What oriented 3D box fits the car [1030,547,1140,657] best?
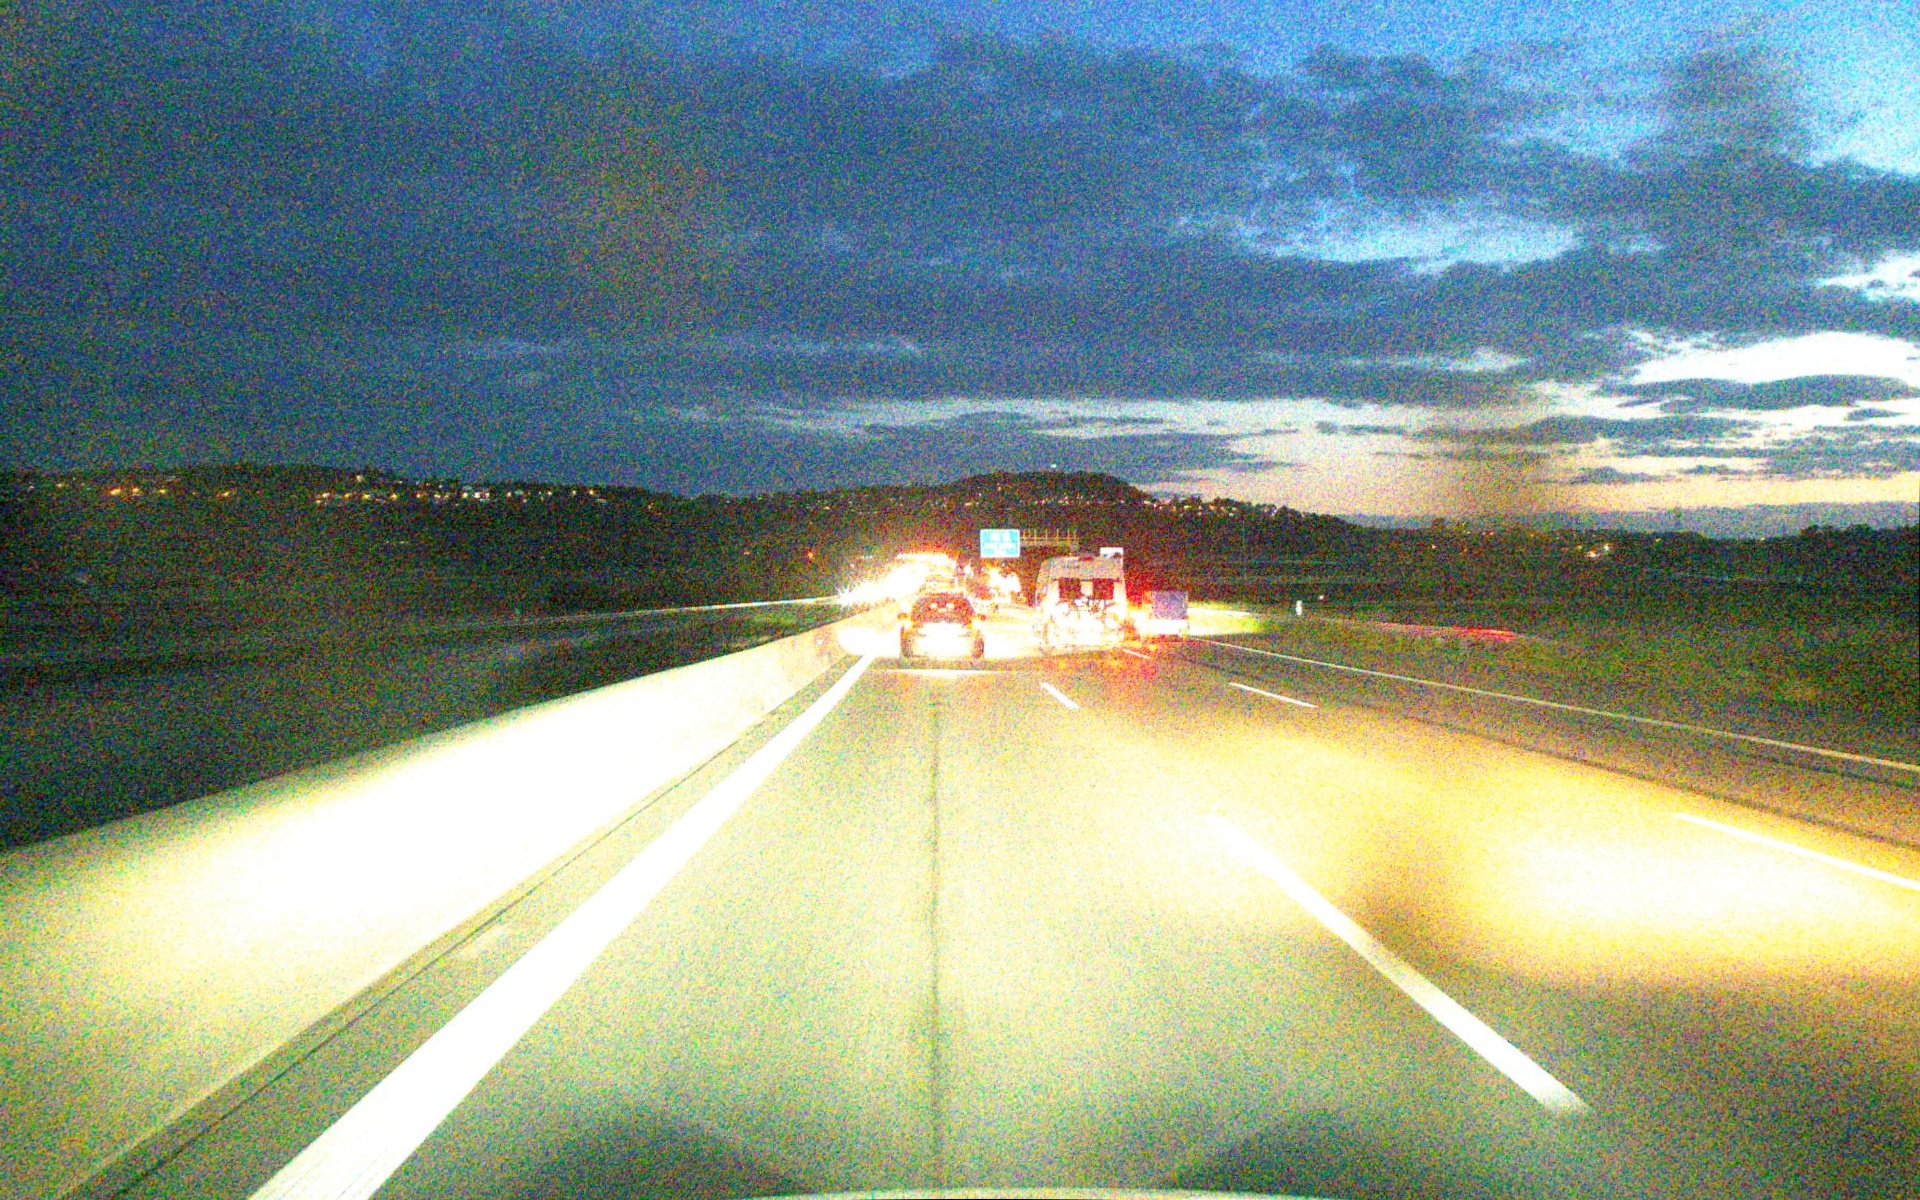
[{"bbox_3d":[3.105,0.011,42.251,2.303,2.579,5.700,-1,1,-1],"label":"car"}]

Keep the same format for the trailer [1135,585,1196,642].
[{"bbox_3d":[6.495,0.406,52.504,1.534,1.723,2.820,0,0,-1],"label":"trailer"}]

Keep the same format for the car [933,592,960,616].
[{"bbox_3d":[-0.886,0.249,109.510,1.709,1.465,4.367,-1,1,-1],"label":"car"}]

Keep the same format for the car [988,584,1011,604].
[{"bbox_3d":[4.310,-0.640,182.159,2.303,2.112,4.722,-1,1,-1],"label":"car"}]

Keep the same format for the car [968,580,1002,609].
[{"bbox_3d":[1.738,-0.403,118.820,2.303,1.947,4.722,-1,0,-1],"label":"car"}]

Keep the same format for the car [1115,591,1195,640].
[{"bbox_3d":[6.571,0.484,56.161,2.119,1.591,4.722,0,0,-1],"label":"car"}]

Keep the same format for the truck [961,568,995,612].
[{"bbox_3d":[1.671,-0.911,157.130,2.725,4.024,7.989,-1,0,-2],"label":"truck"}]

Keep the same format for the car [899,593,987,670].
[{"bbox_3d":[-0.364,0.629,35.111,1.757,1.494,3.772,0,1,-1],"label":"car"}]
